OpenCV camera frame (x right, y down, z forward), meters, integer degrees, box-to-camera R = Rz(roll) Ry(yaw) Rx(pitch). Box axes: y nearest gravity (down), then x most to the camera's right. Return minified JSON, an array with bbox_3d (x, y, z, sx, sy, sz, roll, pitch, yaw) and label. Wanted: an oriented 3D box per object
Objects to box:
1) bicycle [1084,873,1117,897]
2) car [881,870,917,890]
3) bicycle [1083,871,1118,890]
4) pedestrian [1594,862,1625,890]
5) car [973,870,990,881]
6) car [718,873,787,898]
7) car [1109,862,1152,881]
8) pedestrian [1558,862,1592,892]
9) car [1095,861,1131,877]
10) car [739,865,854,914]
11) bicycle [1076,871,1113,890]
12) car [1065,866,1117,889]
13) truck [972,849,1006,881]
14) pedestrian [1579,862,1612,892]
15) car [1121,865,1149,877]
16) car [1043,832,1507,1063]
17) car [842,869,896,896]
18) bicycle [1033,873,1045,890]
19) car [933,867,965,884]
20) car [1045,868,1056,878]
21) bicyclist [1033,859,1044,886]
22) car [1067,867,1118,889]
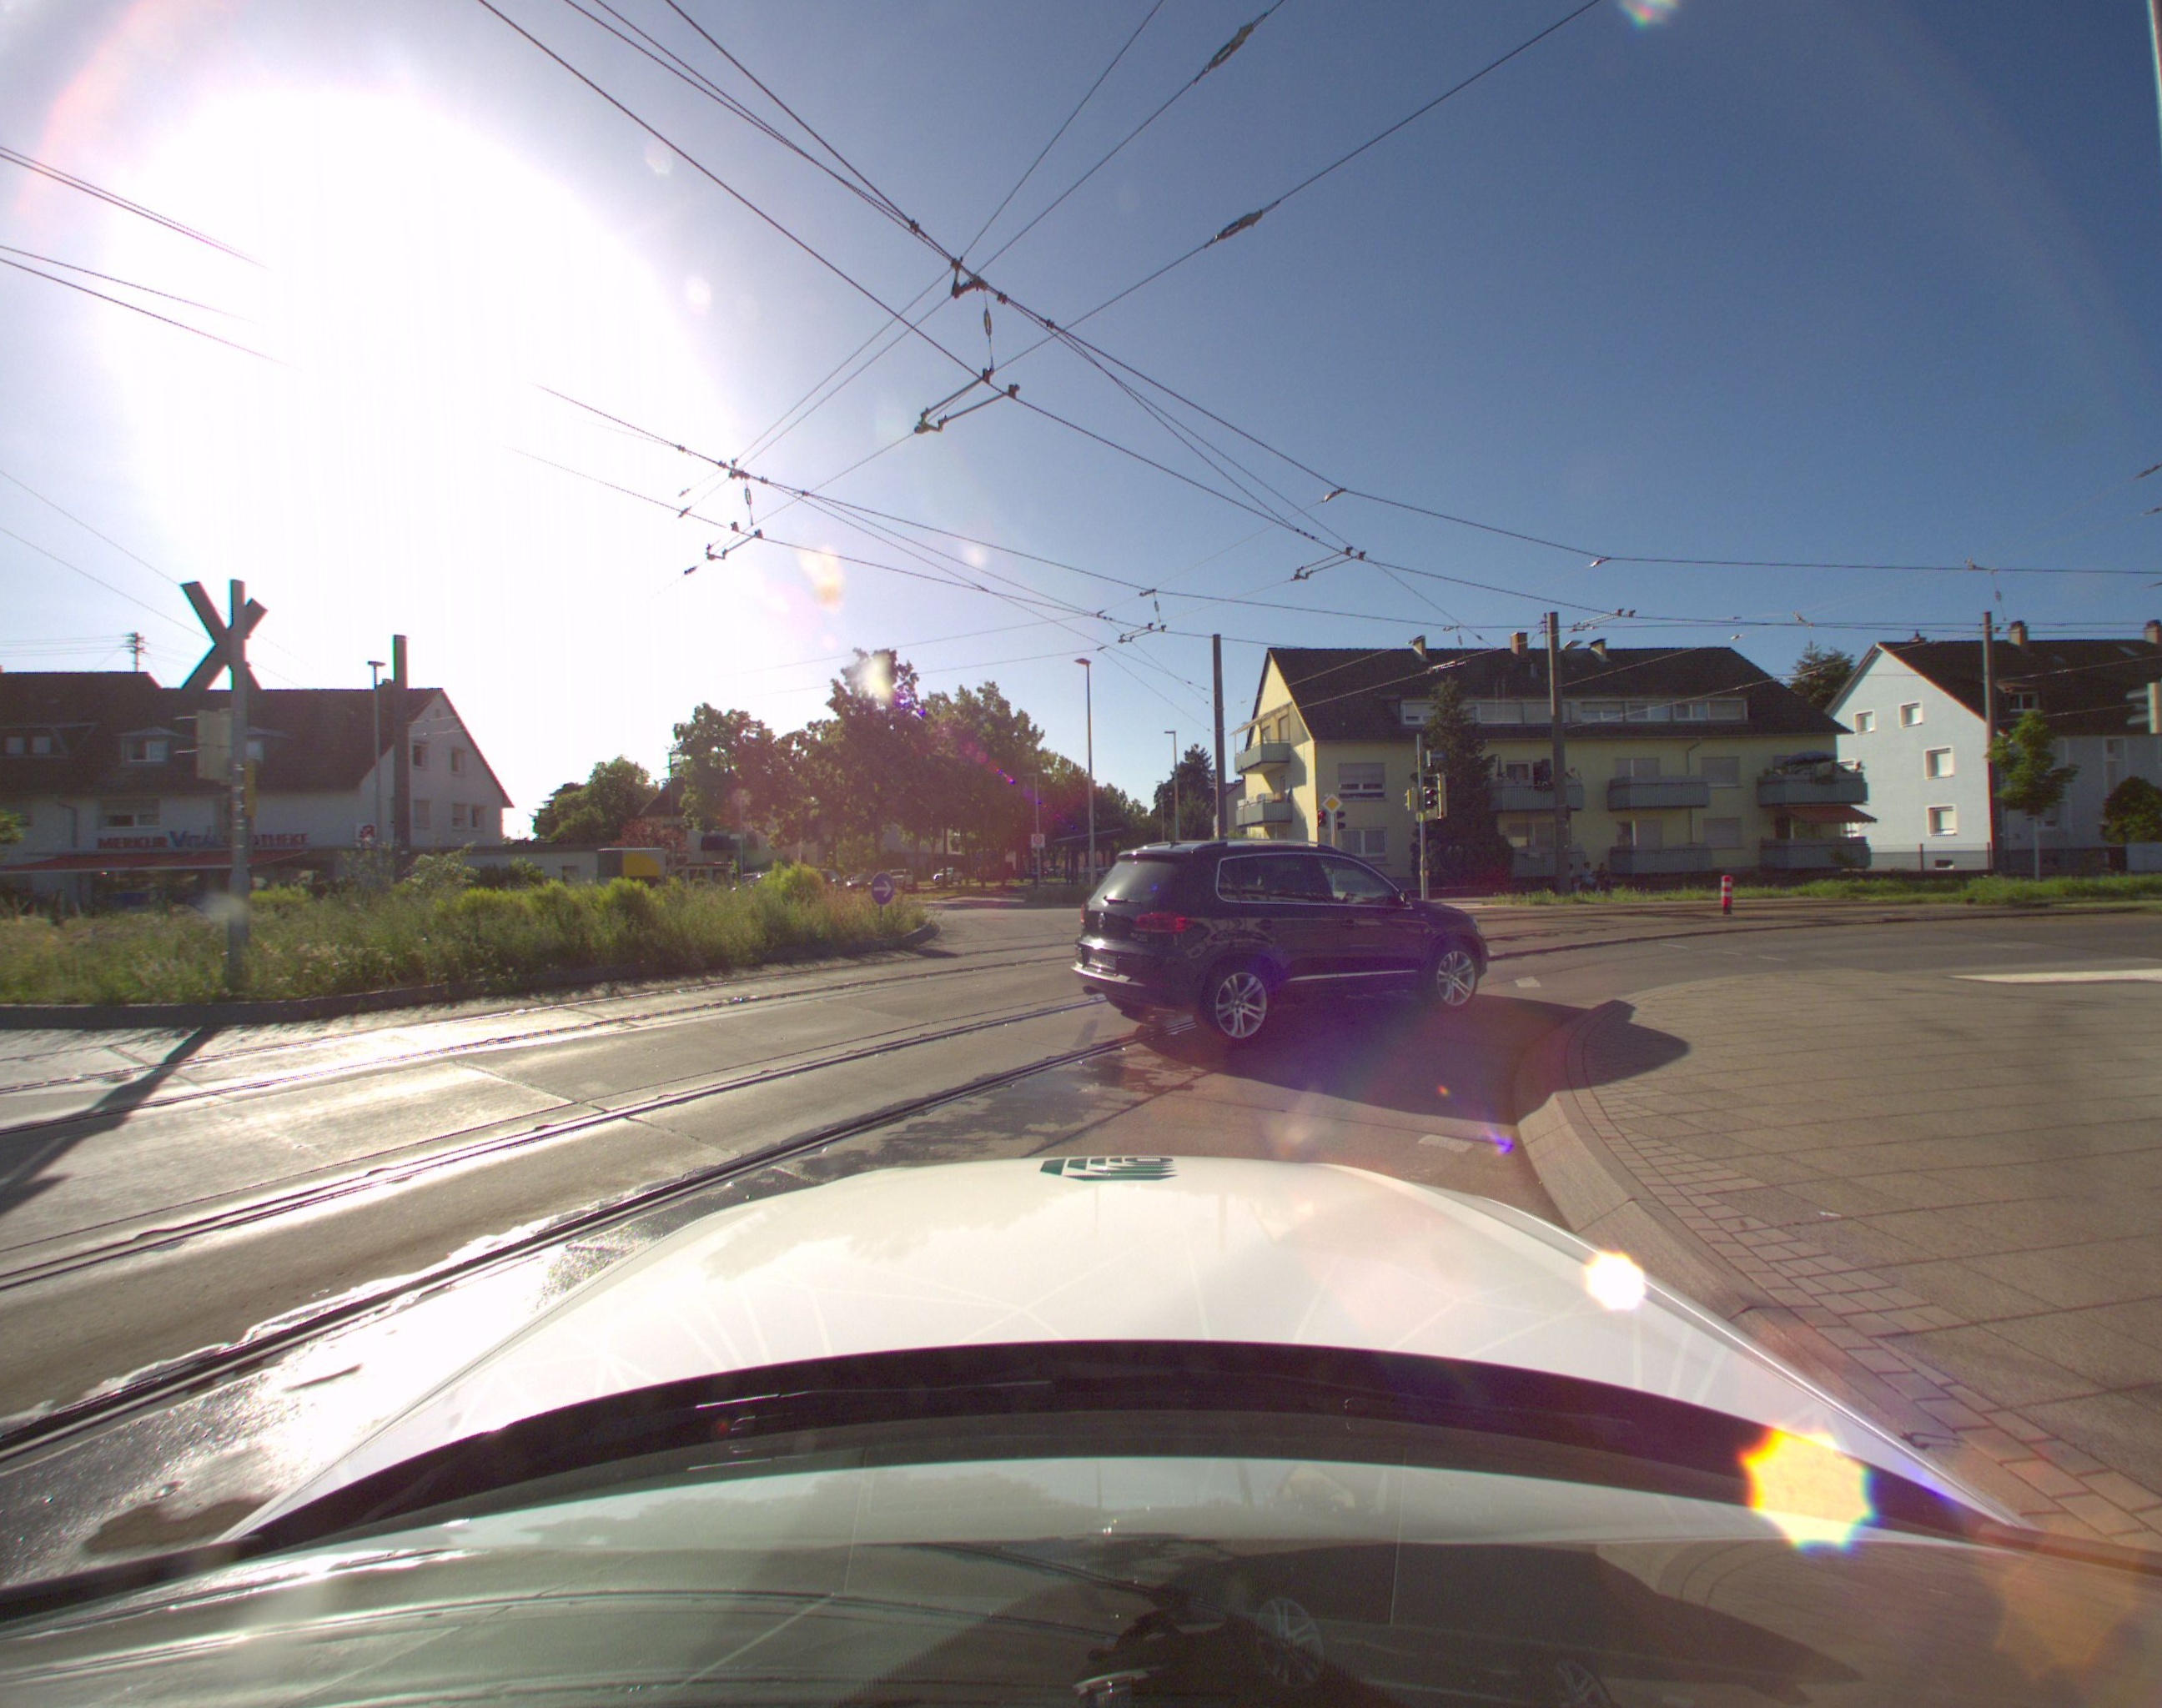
[{"bbox_3d":[0.984,1.559,40.774,1.660,1.208,0.689,0,-1,-1],"label":"bicycle"},{"bbox_3d":[-15.953,2.255,71.556,1.985,1.700,4.221,0,-1,3],"label":"car"},{"bbox_3d":[1.028,1.410,43.574,1.835,1.027,0.689,0,-1,-1],"label":"bicycle"},{"bbox_3d":[19.043,0.791,29.358,0.596,1.006,0.718,1,-1,-27],"label":"pedestrian"},{"bbox_3d":[-16.012,3.486,131.289,1.985,1.699,4.221,-2,-1,3],"label":"car"},{"bbox_3d":[-23.036,2.194,57.232,4.019,1.694,2.002,0,-1,4],"label":"car"},{"bbox_3d":[4.095,1.463,67.504,3.501,1.533,1.579,0,-1,4],"label":"car"},{"bbox_3d":[17.569,0.804,28.982,0.685,1.046,0.818,-1,-1,-6],"label":"pedestrian"},{"bbox_3d":[3.185,1.506,79.957,3.501,1.533,1.579,0,-1,4],"label":"car"},{"bbox_3d":[-9.460,1.156,26.998,3.863,1.491,1.704,-2,-1,37],"label":"car"},{"bbox_3d":[0.739,1.452,44.477,1.967,1.027,0.696,0,-1,-1],"label":"bicycle"},{"bbox_3d":[0.703,1.601,56.131,3.501,1.533,1.579,0,-1,4],"label":"car"},{"bbox_3d":[-11.847,1.381,105.670,3.056,3.993,8.015,0,0,3],"label":"truck"},{"bbox_3d":[18.425,0.812,29.156,0.629,1.065,0.811,1,-1,-36],"label":"pedestrian"},{"bbox_3d":[6.483,2.040,98.181,3.345,1.533,1.524,0,-1,3],"label":"car"},{"bbox_3d":[1.953,0.665,7.905,4.269,1.670,1.801,-2,1,-29],"label":"car"},{"bbox_3d":[-13.290,1.751,51.287,1.822,1.581,4.447,0,-1,5],"label":"car"},{"bbox_3d":[-2.692,1.776,52.301,0.764,1.037,1.532,-1,-2,-4],"label":"bicycle"},{"bbox_3d":[-14.205,2.339,88.054,1.983,1.773,5.070,0,-1,7],"label":"car"},{"bbox_3d":[-5.163,3.297,138.833,1.640,1.648,3.571,0,-1,3],"label":"car"},{"bbox_3d":[-2.747,1.211,52.673,0.602,1.715,0.543,-2,-5,-4],"label":"bicyclist"},{"bbox_3d":[0.822,1.671,57.878,3.501,1.533,1.579,0,-1,4],"label":"car"}]
